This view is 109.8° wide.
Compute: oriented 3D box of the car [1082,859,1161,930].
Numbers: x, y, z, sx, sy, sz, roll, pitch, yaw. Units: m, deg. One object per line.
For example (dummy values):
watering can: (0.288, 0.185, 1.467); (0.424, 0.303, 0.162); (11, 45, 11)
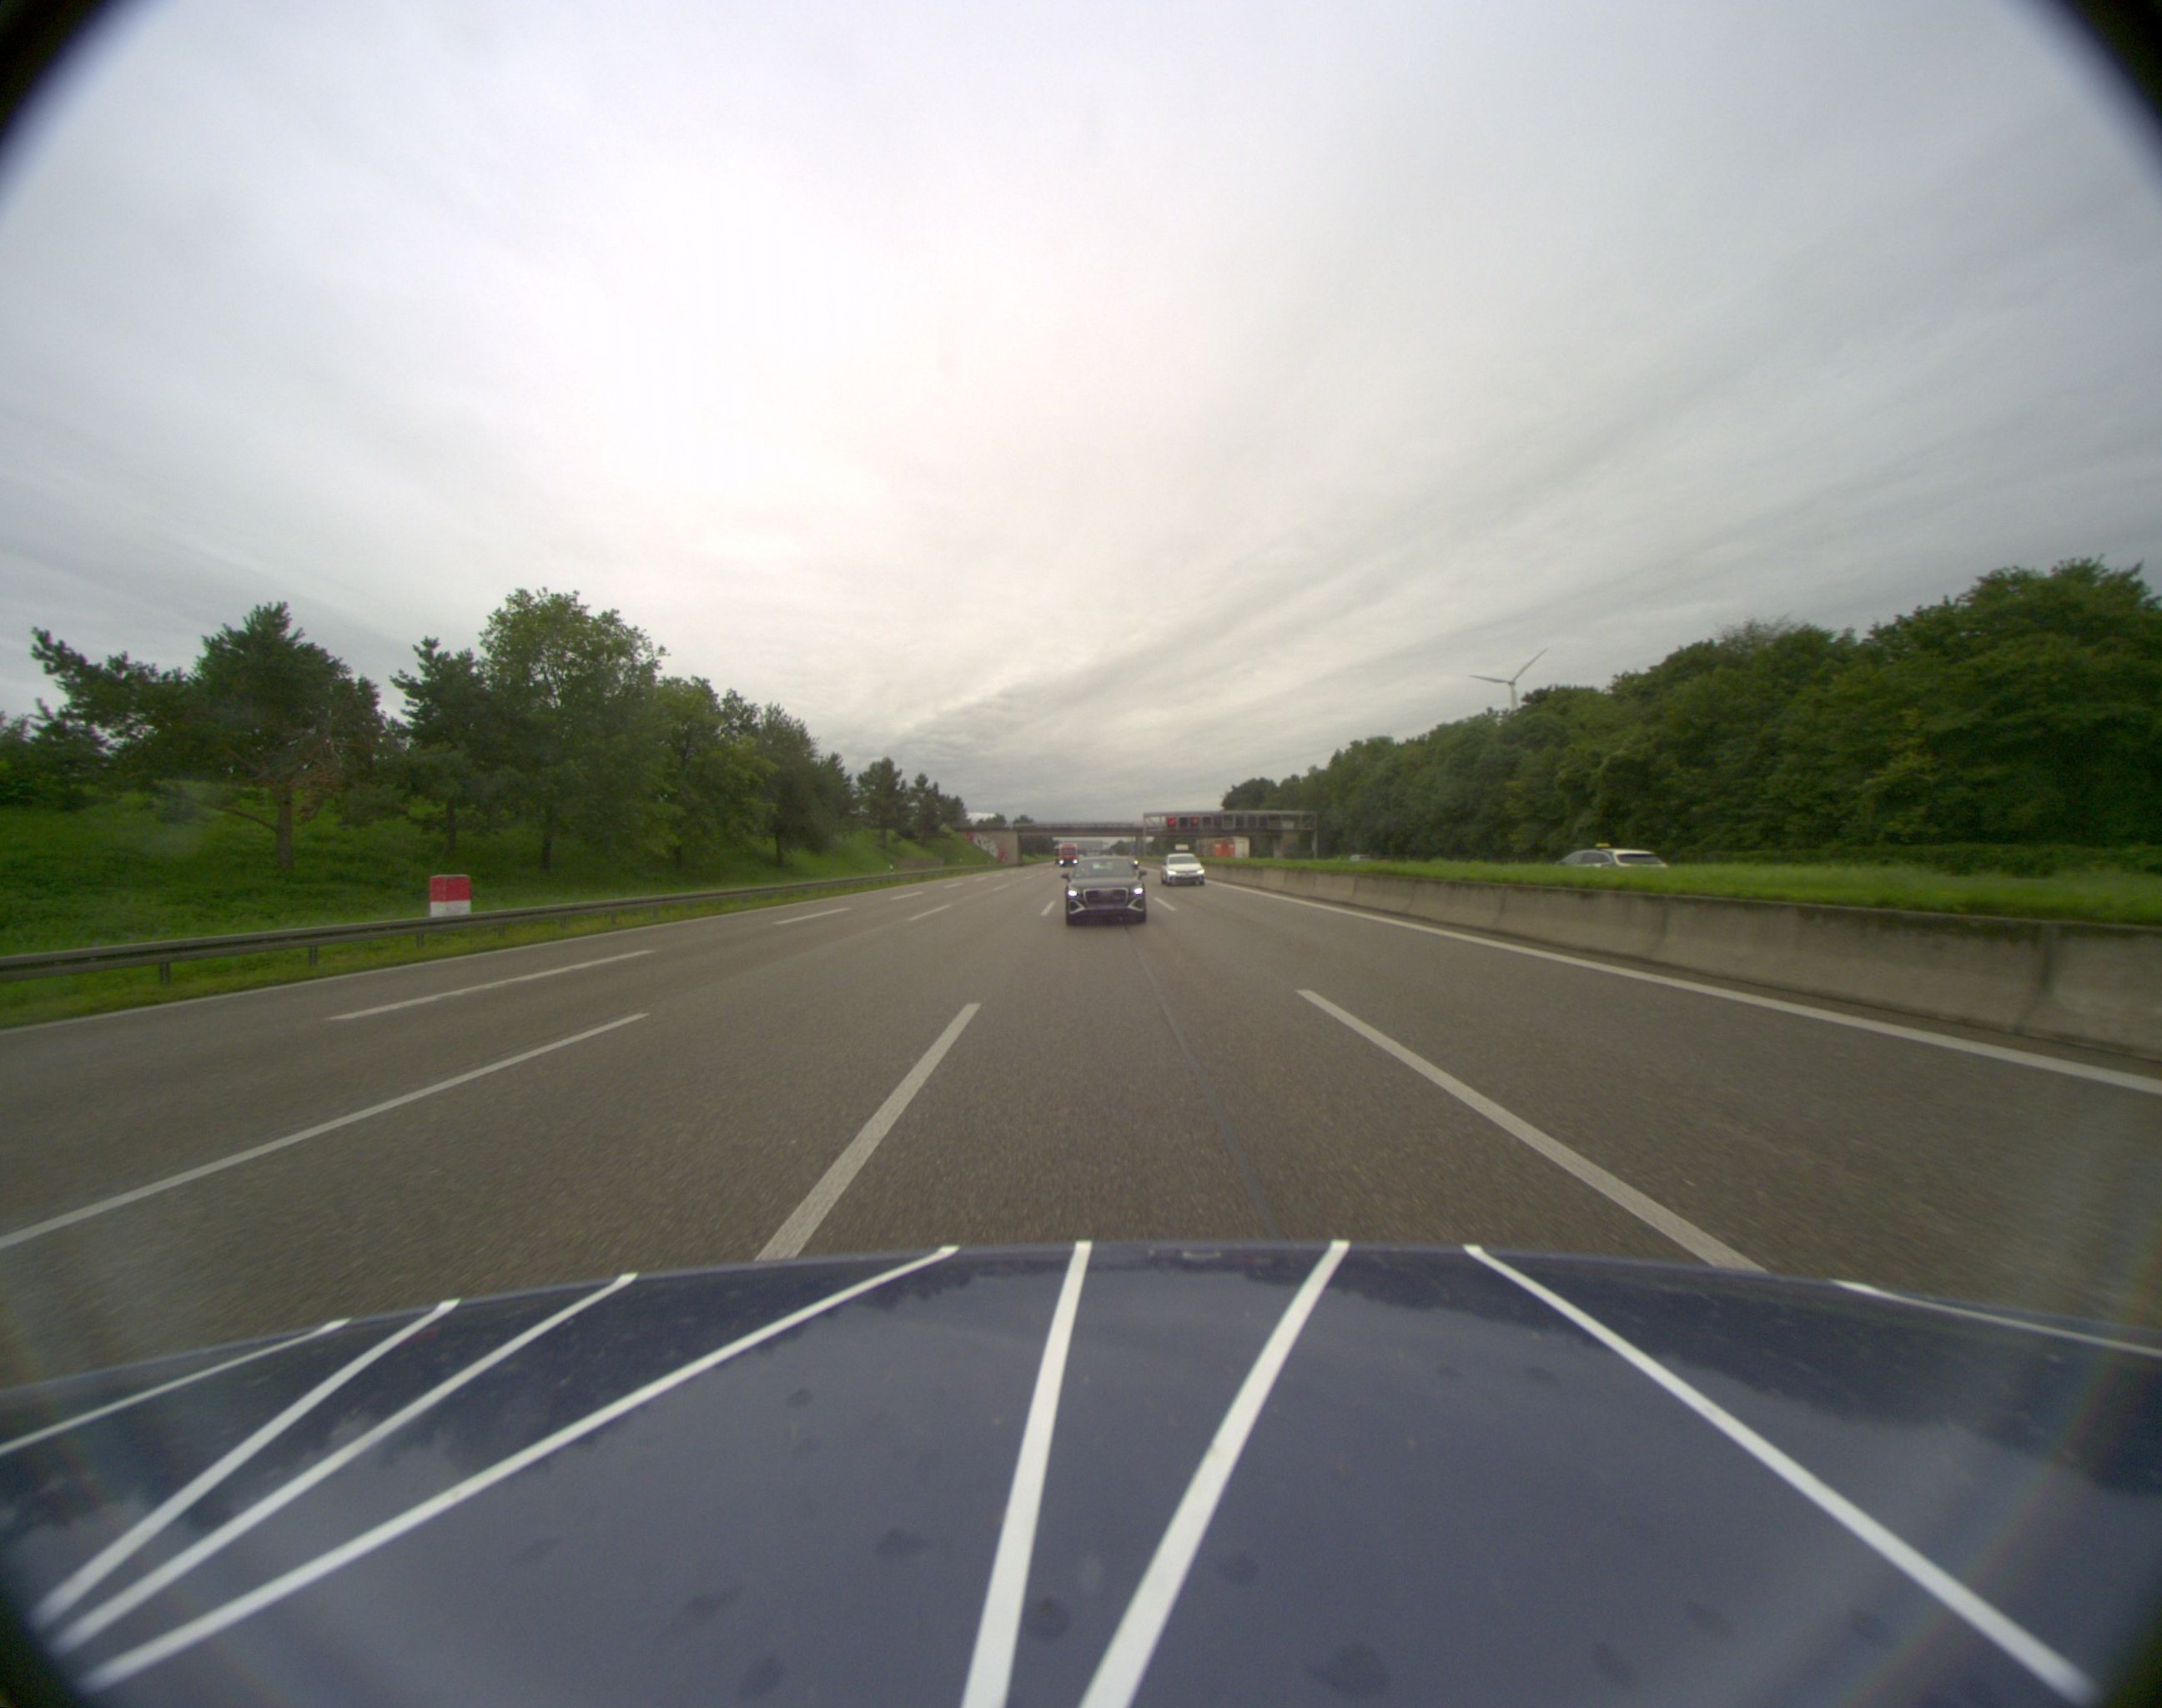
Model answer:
car: (0.860, 0.873, 17.808); (1.616, 1.403, 3.326); (-2, 1, 0)

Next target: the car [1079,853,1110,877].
car: (0.954, 0.730, 53.430); (1.998, 1.555, 4.910); (-2, 0, 1)

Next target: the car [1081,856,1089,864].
car: (0.964, 1.519, 199.764); (1.998, 2.002, 4.000); (-2, 1, 1)

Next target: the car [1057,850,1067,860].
car: (-4.250, 0.236, 168.847); (1.998, 2.002, 4.000); (-2, 1, 2)

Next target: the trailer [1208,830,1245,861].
trailer: (17.690, -1.051, 92.844); (2.939, 3.439, 8.319); (-2, 1, 1)

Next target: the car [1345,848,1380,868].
car: (28.025, 0.362, 75.747); (1.998, 1.778, 4.304); (-2, 1, 2)

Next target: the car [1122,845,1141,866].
car: (5.141, 0.095, 77.572); (1.725, 2.002, 3.851); (-2, 1, 1)

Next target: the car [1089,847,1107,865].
car: (2.081, 0.207, 92.476); (1.998, 2.002, 4.000); (-2, 1, 1)

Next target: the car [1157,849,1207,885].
car: (4.762, 0.574, 36.340); (1.757, 1.608, 4.663); (-1, 0, 0)

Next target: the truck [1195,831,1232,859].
truck: (17.766, -1.165, 102.683); (2.958, 3.446, 11.183); (-2, 1, 0)

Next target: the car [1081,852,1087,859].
car: (0.814, 0.455, 203.086); (1.690, 1.875, 3.741); (-2, 1, 1)

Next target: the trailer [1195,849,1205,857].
trailer: (30.323, -0.299, 194.017); (1.998, 2.002, 5.177); (-2, 1, 2)

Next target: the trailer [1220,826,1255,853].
trailer: (22.066, -1.959, 107.677); (2.692, 3.519, 11.870); (-2, 1, 2)

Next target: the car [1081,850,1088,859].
car: (0.859, 0.044, 182.532); (1.580, 2.002, 3.372); (-2, 1, 1)

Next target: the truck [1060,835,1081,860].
truck: (-1.535, -1.017, 116.405); (2.836, 3.634, 10.670); (-2, 1, 1)

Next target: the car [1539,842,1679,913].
car: (16.416, 0.666, 23.881); (1.624, 2.002, 4.000); (-2, 1, 1)
